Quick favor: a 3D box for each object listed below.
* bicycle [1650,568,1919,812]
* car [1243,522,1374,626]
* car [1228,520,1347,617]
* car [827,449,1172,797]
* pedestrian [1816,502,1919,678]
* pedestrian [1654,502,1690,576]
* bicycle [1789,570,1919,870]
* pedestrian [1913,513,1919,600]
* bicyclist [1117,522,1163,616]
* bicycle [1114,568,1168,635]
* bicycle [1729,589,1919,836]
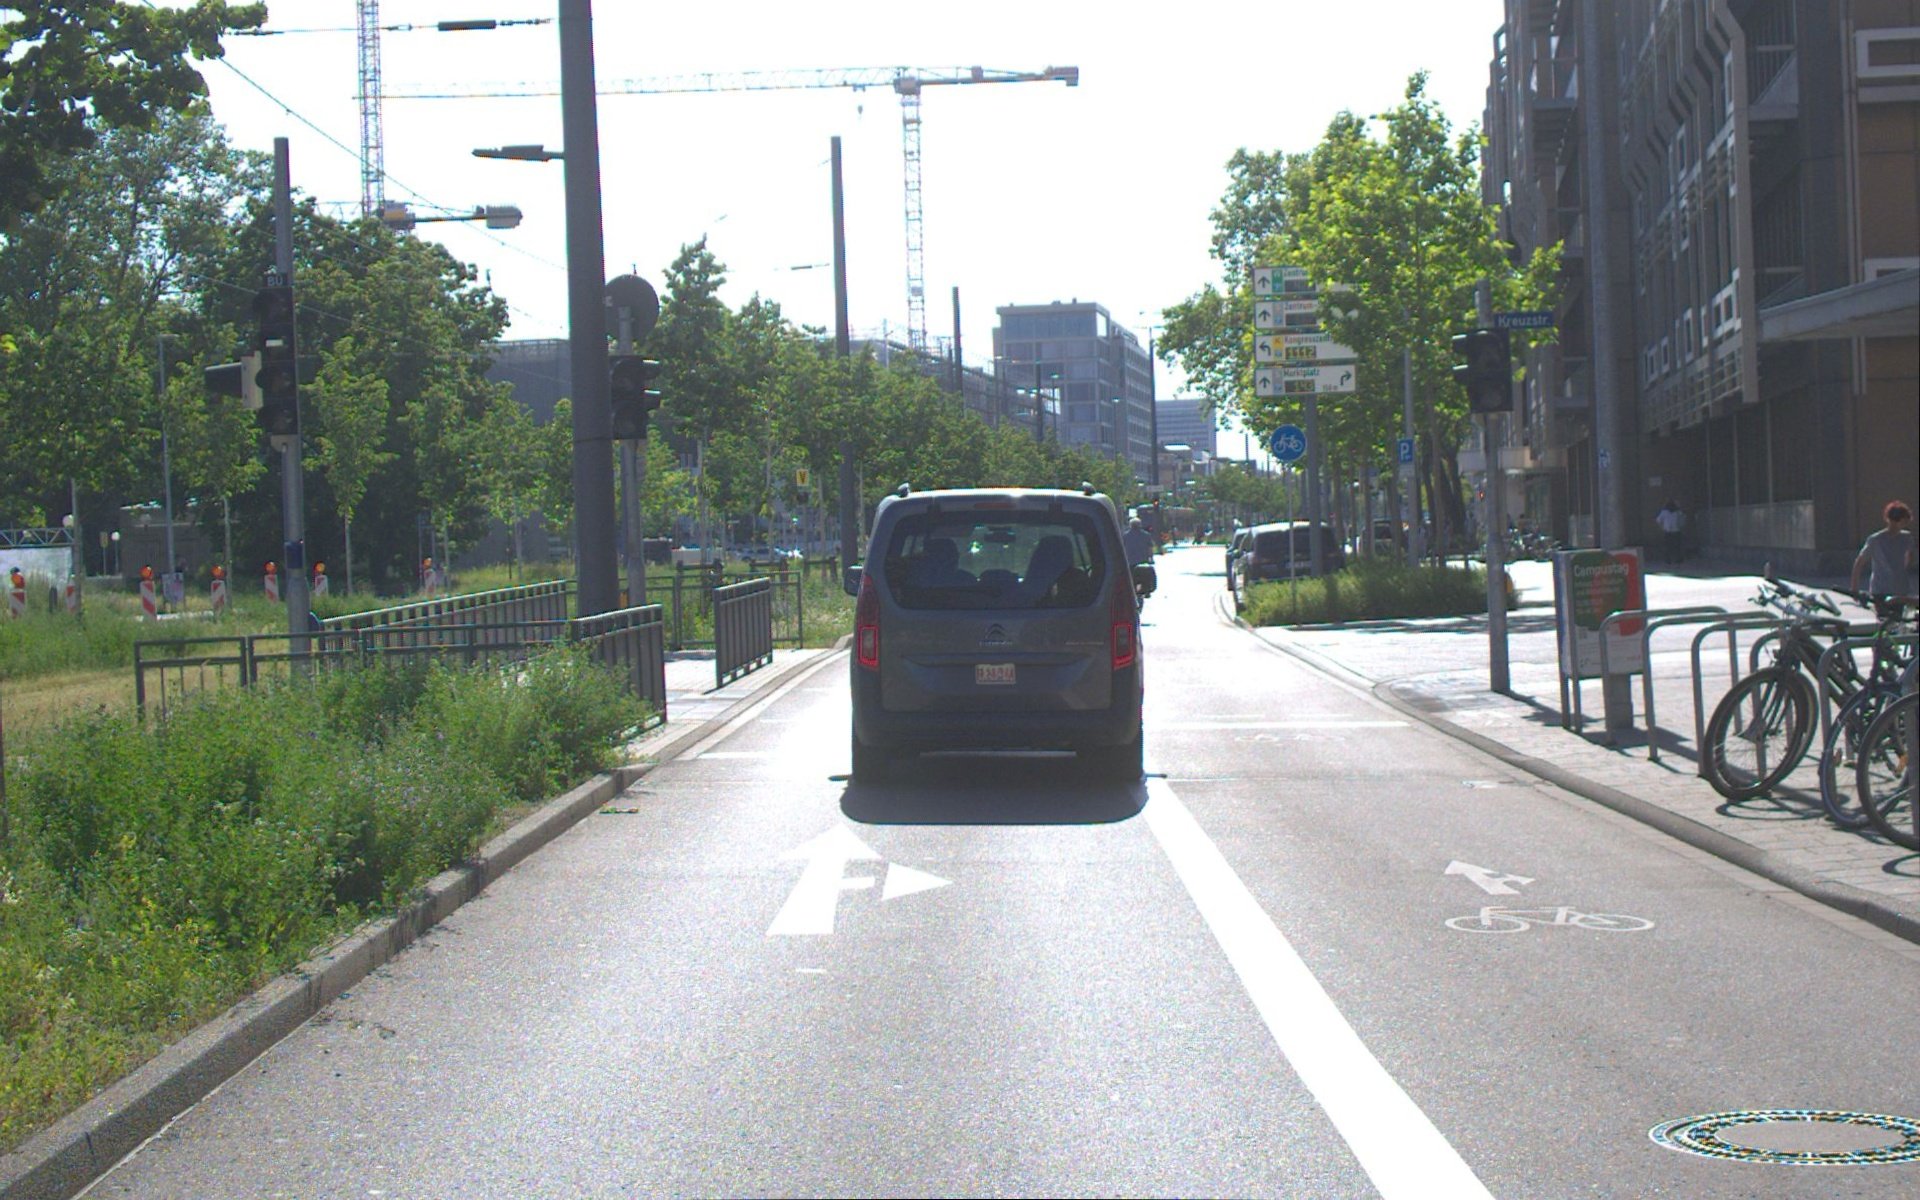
[{"bbox_3d":[4.667,0.435,17.894,1.915,1.117,0.665,-5,1,-7],"label":"bicycle"},{"bbox_3d":[5.742,-0.426,57.048,1.988,1.632,4.189,-1,0,3],"label":"car"},{"bbox_3d":[6.004,-0.566,63.372,2.021,1.716,4.118,-1,0,3],"label":"car"},{"bbox_3d":[0.177,0.084,22.005,1.993,2.007,4.001,-1,1,-2],"label":"car"},{"bbox_3d":[7.359,-0.086,27.362,0.703,1.331,1.011,-6,0,0],"label":"pedestrian"},{"bbox_3d":[16.145,-1.390,77.918,0.700,1.647,0.724,-1,1,7],"label":"pedestrian"},{"bbox_3d":[4.613,0.458,14.840,1.878,1.229,0.500,-4,0,-7],"label":"bicycle"},{"bbox_3d":[8.173,-0.088,27.290,0.832,1.283,1.007,-5,1,0],"label":"pedestrian"},{"bbox_3d":[3.077,-0.537,58.730,0.682,1.579,0.840,-1,1,-2],"label":"bicyclist"},{"bbox_3d":[3.079,0.016,58.770,0.701,1.087,2.277,-1,1,-2],"label":"bicycle"},{"bbox_3d":[4.698,0.485,16.378,1.824,1.075,0.665,-5,1,-7],"label":"bicycle"}]
